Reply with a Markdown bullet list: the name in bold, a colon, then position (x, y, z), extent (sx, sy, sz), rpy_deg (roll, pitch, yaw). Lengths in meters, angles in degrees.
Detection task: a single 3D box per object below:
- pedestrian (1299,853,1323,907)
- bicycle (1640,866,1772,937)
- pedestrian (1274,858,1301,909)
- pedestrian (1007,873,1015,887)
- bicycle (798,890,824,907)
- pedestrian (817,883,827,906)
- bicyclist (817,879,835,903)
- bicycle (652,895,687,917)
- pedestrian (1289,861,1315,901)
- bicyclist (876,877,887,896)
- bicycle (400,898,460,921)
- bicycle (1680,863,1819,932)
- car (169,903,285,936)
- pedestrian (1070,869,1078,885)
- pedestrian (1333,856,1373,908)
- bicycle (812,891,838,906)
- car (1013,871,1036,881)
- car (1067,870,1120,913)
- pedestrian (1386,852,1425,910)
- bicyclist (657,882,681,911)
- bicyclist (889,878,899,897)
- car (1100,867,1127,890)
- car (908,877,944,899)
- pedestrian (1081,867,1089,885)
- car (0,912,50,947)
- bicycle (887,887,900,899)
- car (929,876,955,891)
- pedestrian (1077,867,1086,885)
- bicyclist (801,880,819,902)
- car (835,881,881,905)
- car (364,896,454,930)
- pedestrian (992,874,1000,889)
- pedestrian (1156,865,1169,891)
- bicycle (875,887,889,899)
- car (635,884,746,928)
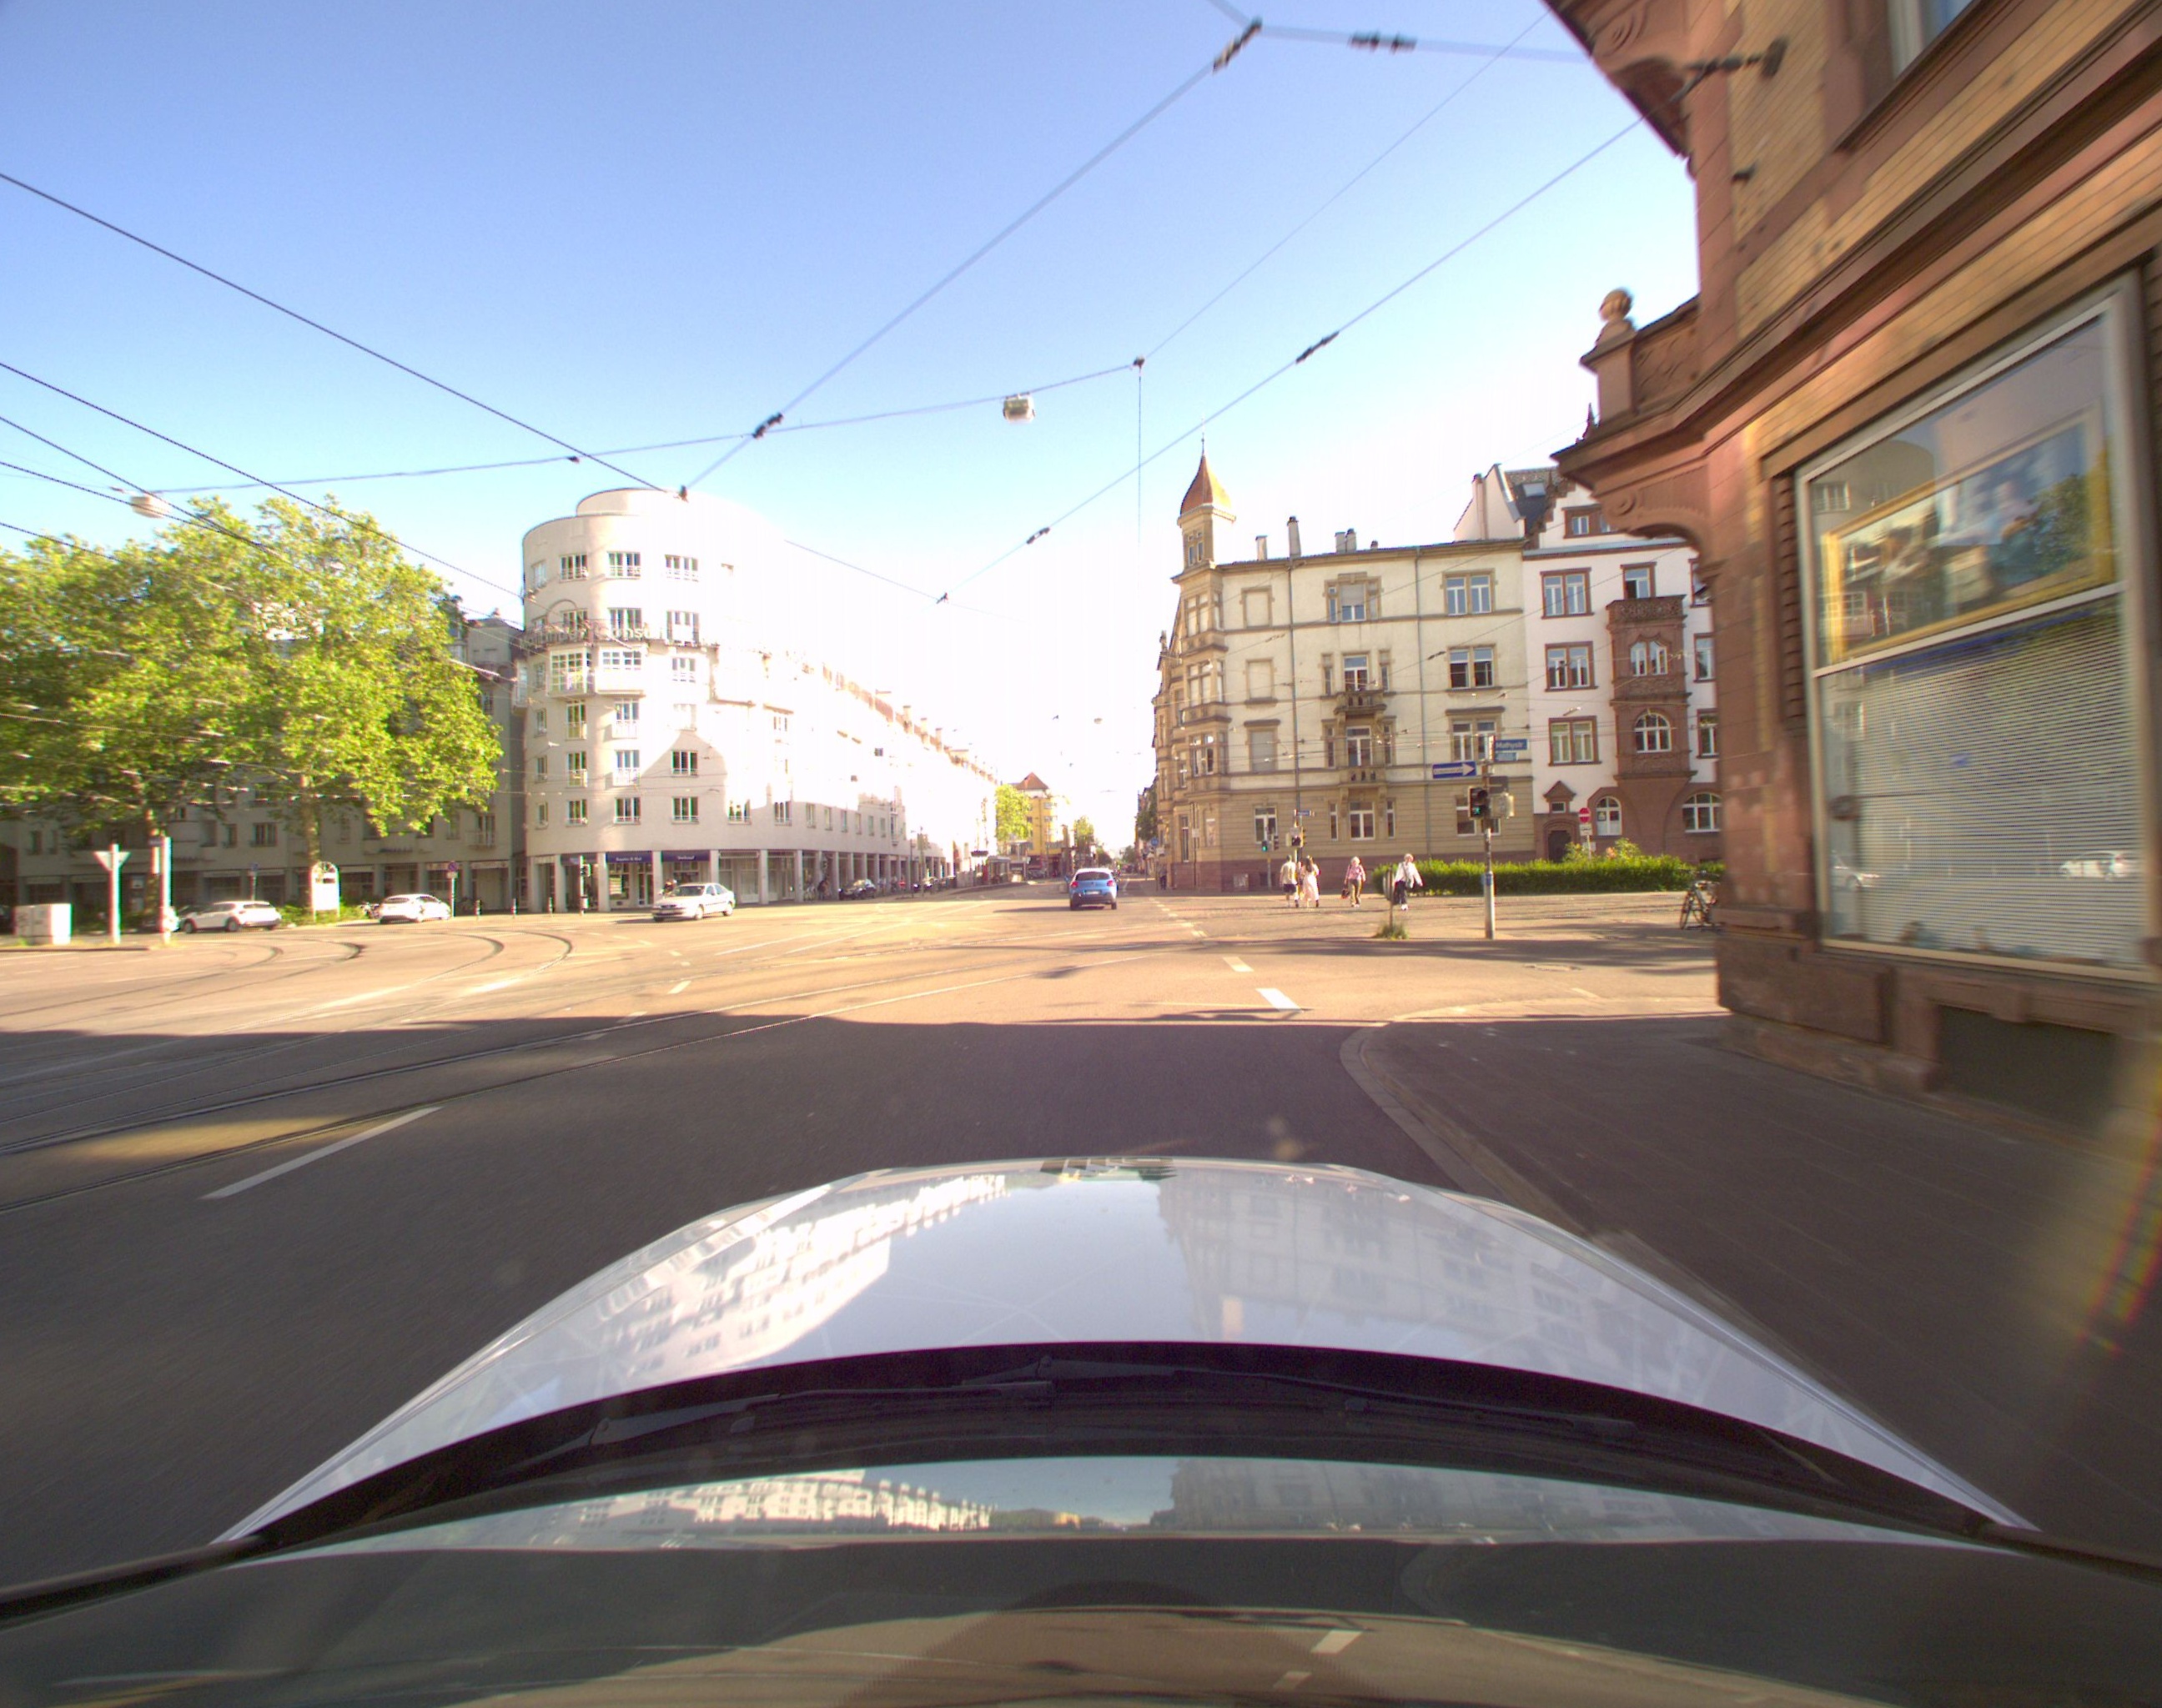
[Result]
- **pedestrian**: position (7.578, 0.854, 26.829), extent (0.637, 1.745, 0.709), rpy_deg (-1, -3, 25)
- **bicycle**: position (11.833, 0.858, 15.540), extent (0.748, 1.209, 2.312), rpy_deg (-2, 0, 1)
- **pedestrian**: position (6.867, 0.990, 27.030), extent (0.694, 1.655, 0.635), rpy_deg (-3, -3, 25)
- **pedestrian**: position (-7.629, 2.858, 89.025), extent (0.728, 1.559, 0.743), rpy_deg (-1, -1, 2)
- **bicycle**: position (-16.814, 2.768, 50.820), extent (0.589, 0.972, 1.862), rpy_deg (-3, -2, 16)
- **pedestrian**: position (-17.758, 2.804, 55.819), extent (0.444, 1.534, 0.676), rpy_deg (-1, 0, -34)
- **bicyclist**: position (-18.194, 2.625, 58.089), extent (0.715, 1.696, 1.035), rpy_deg (-2, -2, 31)
- **bicycle**: position (-19.202, 2.413, 38.024), extent (0.591, 0.972, 1.819), rpy_deg (-2, -2, 4)
- **pedestrian**: position (8.698, 1.073, 32.033), extent (0.626, 1.538, 0.948), rpy_deg (-4, -3, 35)
- **bicyclist**: position (-16.136, 2.643, 65.944), extent (0.586, 1.488, 0.928), rpy_deg (-2, -2, 1)
- **bicycle**: position (-38.815, 3.283, 48.592), extent (2.882, 1.234, 0.597), rpy_deg (-1, 0, -7)
- **bicycle**: position (12.657, 0.782, 15.537), extent (0.748, 1.210, 2.312), rpy_deg (-2, -1, 1)
- **car**: position (-41.520, 3.184, 39.630), extent (3.974, 1.403, 1.807), rpy_deg (-1, 0, 6)
- **pedestrian**: position (-0.665, 2.299, 80.365), extent (0.579, 1.562, 0.472), rpy_deg (-3, -2, 39)
- **pedestrian**: position (8.790, 0.899, 26.303), extent (0.913, 1.632, 0.948), rpy_deg (-4, -3, 35)
- **bicycle**: position (-18.230, 3.177, 57.961), extent (0.669, 0.980, 1.773), rpy_deg (-2, -2, 31)
- **car**: position (-10.195, 3.942, 147.707), extent (3.974, 1.674, 1.957), rpy_deg (-1, -1, 0)
- **car**: position (0.524, 1.332, 30.013), extent (1.773, 1.451, 3.657), rpy_deg (0, -1, 3)
- **pedestrian**: position (9.350, 0.779, 23.510), extent (0.915, 1.632, 1.014), rpy_deg (-3, -3, 18)
- **bicyclist**: position (-19.208, 1.975, 38.010), extent (0.586, 1.285, 0.928), rpy_deg (-2, -2, 4)
- **bicyclist**: position (-16.047, 2.898, 69.755), extent (0.586, 1.585, 0.896), rpy_deg (-2, -3, 1)
- **car**: position (2.542, 1.888, 62.725), extent (1.985, 1.743, 4.003), rpy_deg (0, -2, 3)
- **car**: position (-14.543, 3.183, 76.595), extent (2.218, 1.911, 4.611), rpy_deg (-1, -1, 2)
- **pedestrian**: position (0.362, 2.040, 75.837), extent (0.632, 1.698, 0.936), rpy_deg (0, -2, 10)
- **car**: position (-62.081, 4.373, 46.268), extent (1.811, 1.882, 4.000), rpy_deg (-2, -1, 1)
- **bicycle**: position (-16.084, 3.313, 69.862), extent (0.592, 0.972, 2.047), rpy_deg (-2, -2, 1)
- **car**: position (-14.465, 3.048, 85.053), extent (1.722, 1.515, 4.407), rpy_deg (-1, -1, 2)
- **pedestrian**: position (0.052, 2.178, 80.927), extent (0.710, 1.777, 0.569), rpy_deg (-3, -2, 39)
- **bicyclist**: position (-16.862, 2.299, 50.716), extent (0.584, 1.285, 0.996), rpy_deg (-2, -3, 14)
- **car**: position (-15.597, 2.711, 57.094), extent (1.986, 1.596, 4.000), rpy_deg (-2, -2, 1)
- **car**: position (-34.883, 3.027, 42.417), extent (1.798, 1.403, 4.087), rpy_deg (-1, 0, -10)
- **pedestrian**: position (-8.766, 2.846, 83.973), extent (0.728, 1.527, 0.743), rpy_deg (-1, -1, 2)
- **pedestrian**: position (5.688, 1.686, 56.664), extent (0.777, 1.750, 1.093), rpy_deg (-1, 0, 1)
- **bicycle**: position (-16.135, 3.143, 66.096), extent (0.592, 0.972, 2.012), rpy_deg (-2, -2, 1)
- **car**: position (-15.289, 1.992, 32.182), extent (1.986, 1.451, 4.651), rpy_deg (-2, -1, 2)
